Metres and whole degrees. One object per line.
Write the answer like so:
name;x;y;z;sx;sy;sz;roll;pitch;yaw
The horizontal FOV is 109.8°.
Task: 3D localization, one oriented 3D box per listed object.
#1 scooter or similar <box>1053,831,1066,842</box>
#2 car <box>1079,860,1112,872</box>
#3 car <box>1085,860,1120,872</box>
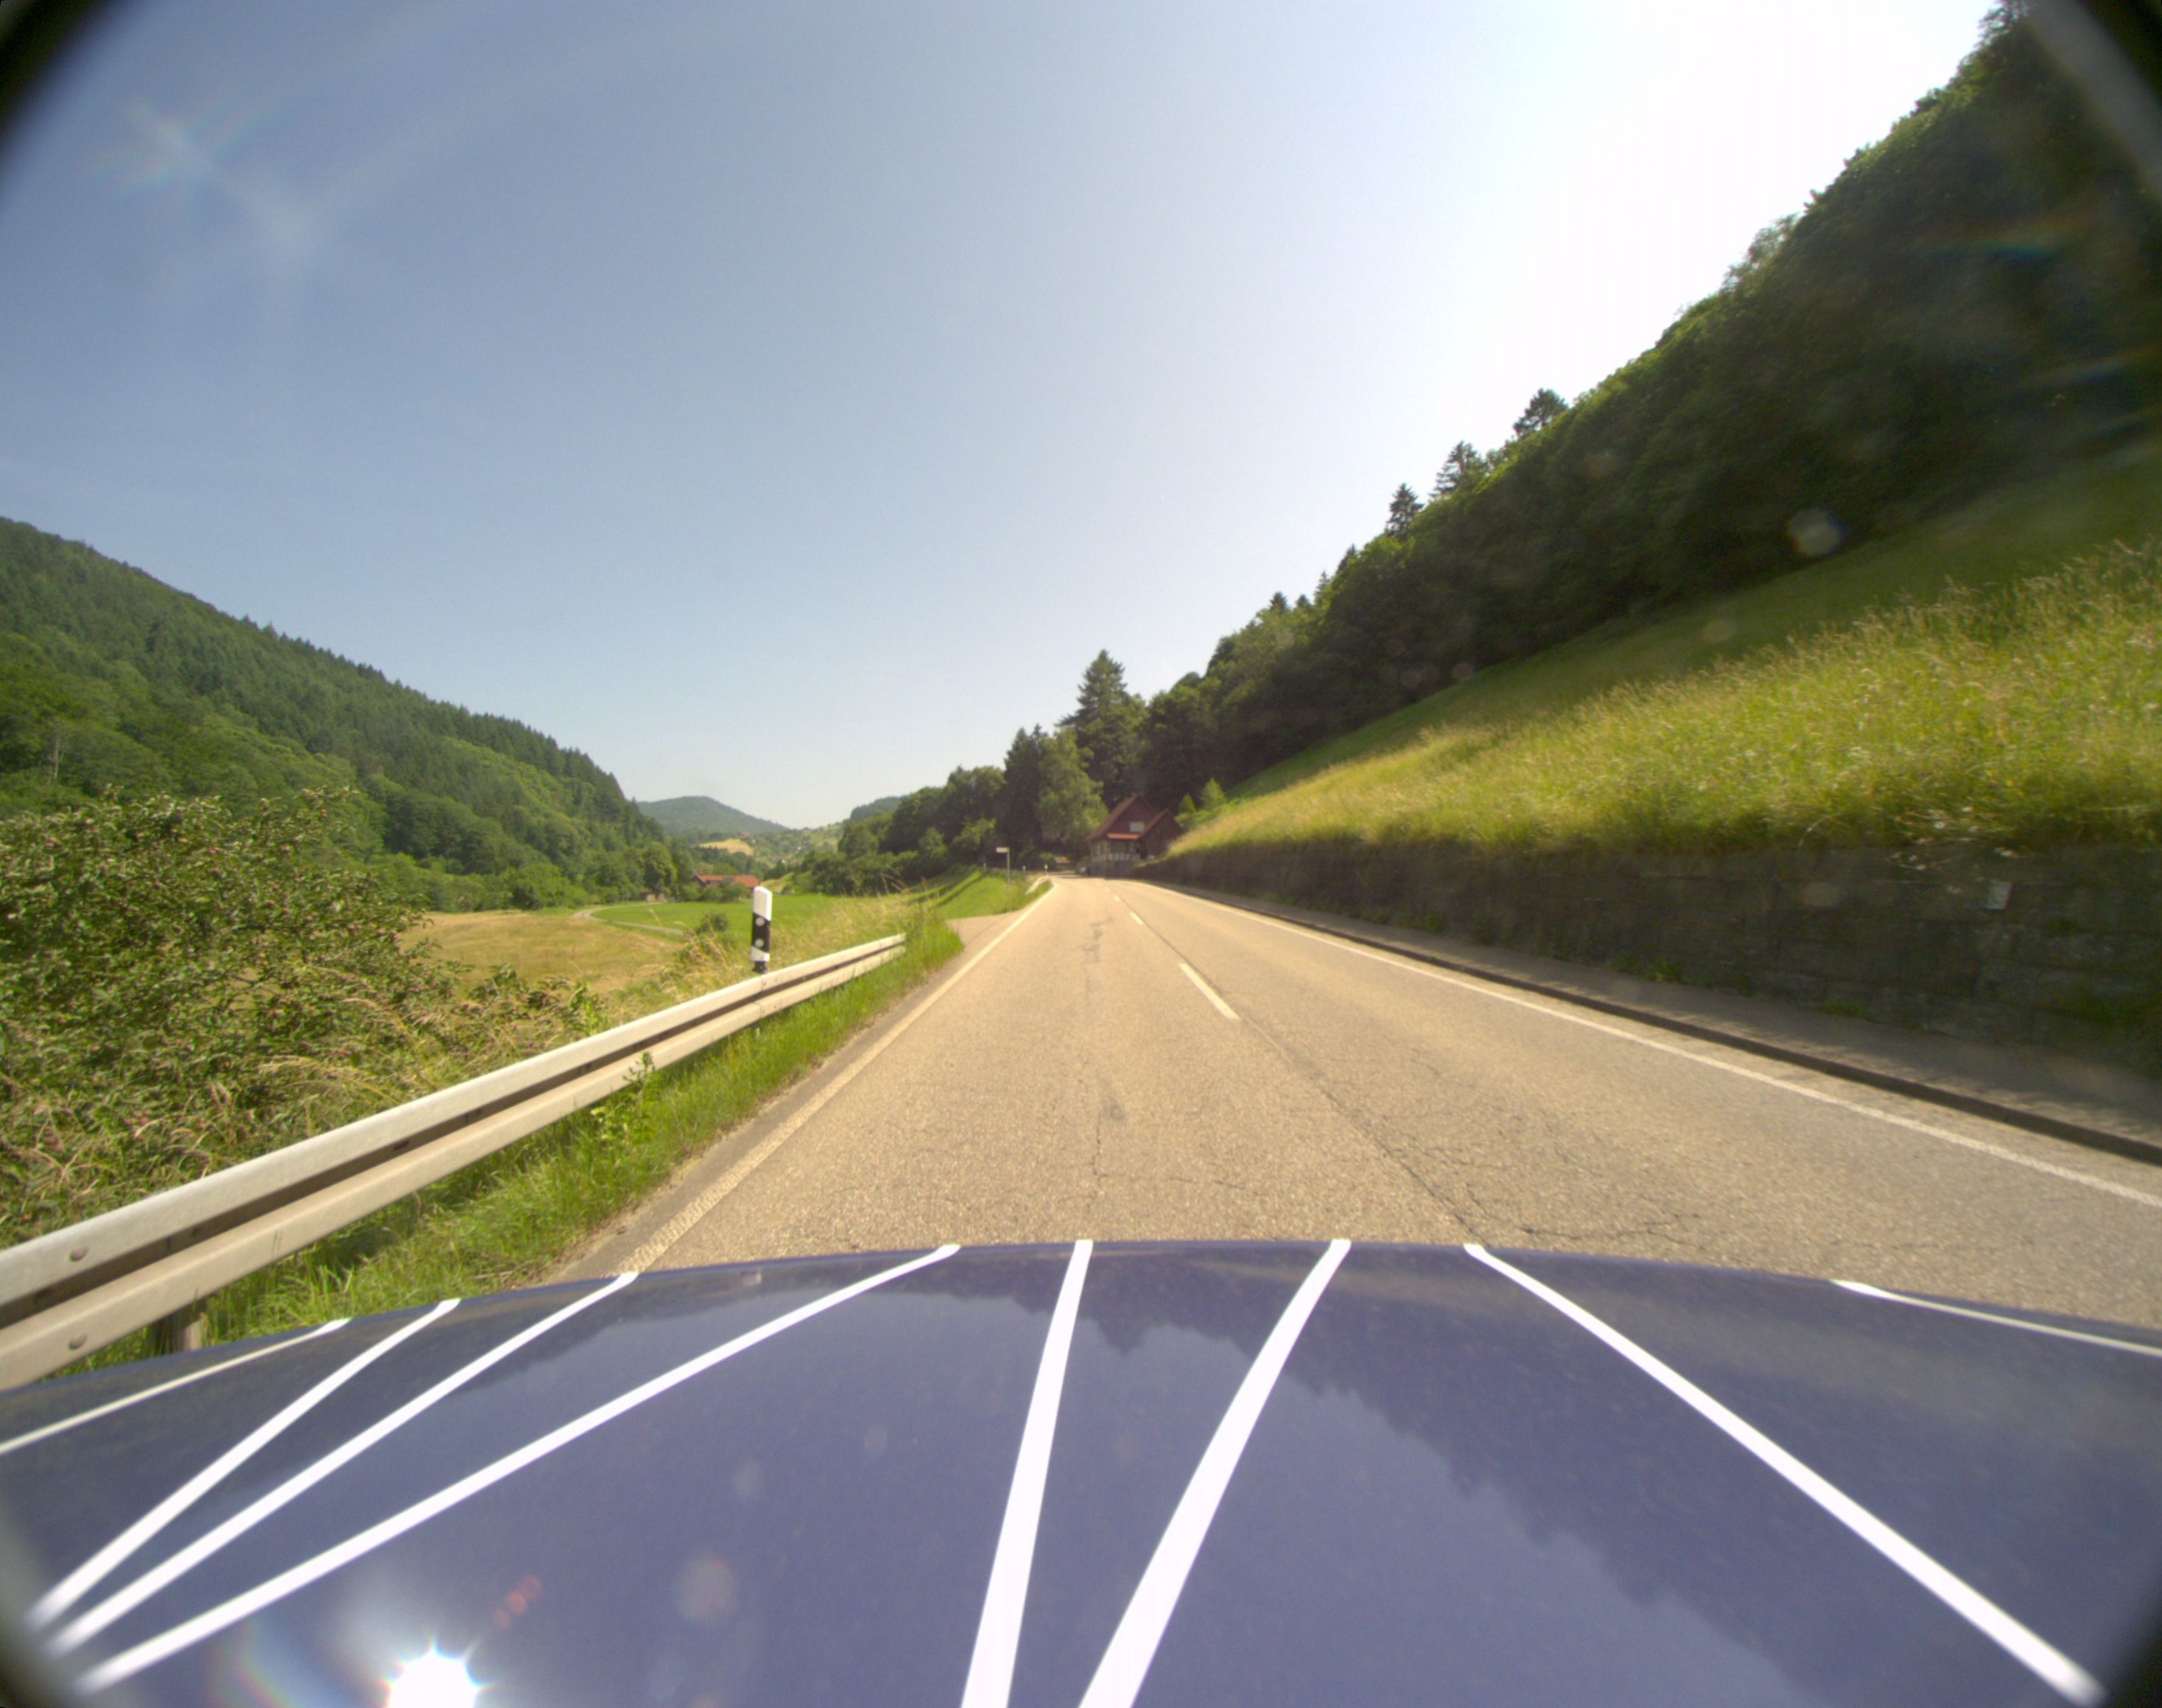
scooter or similar;-4.176;-3.448;149.713;1.984;2.015;4.402;-5;1;-7
car;1.798;1.459;94.990;3.830;1.408;1.855;0;-1;-14
car;2.614;1.456;92.907;3.831;1.424;1.861;1;1;-14
